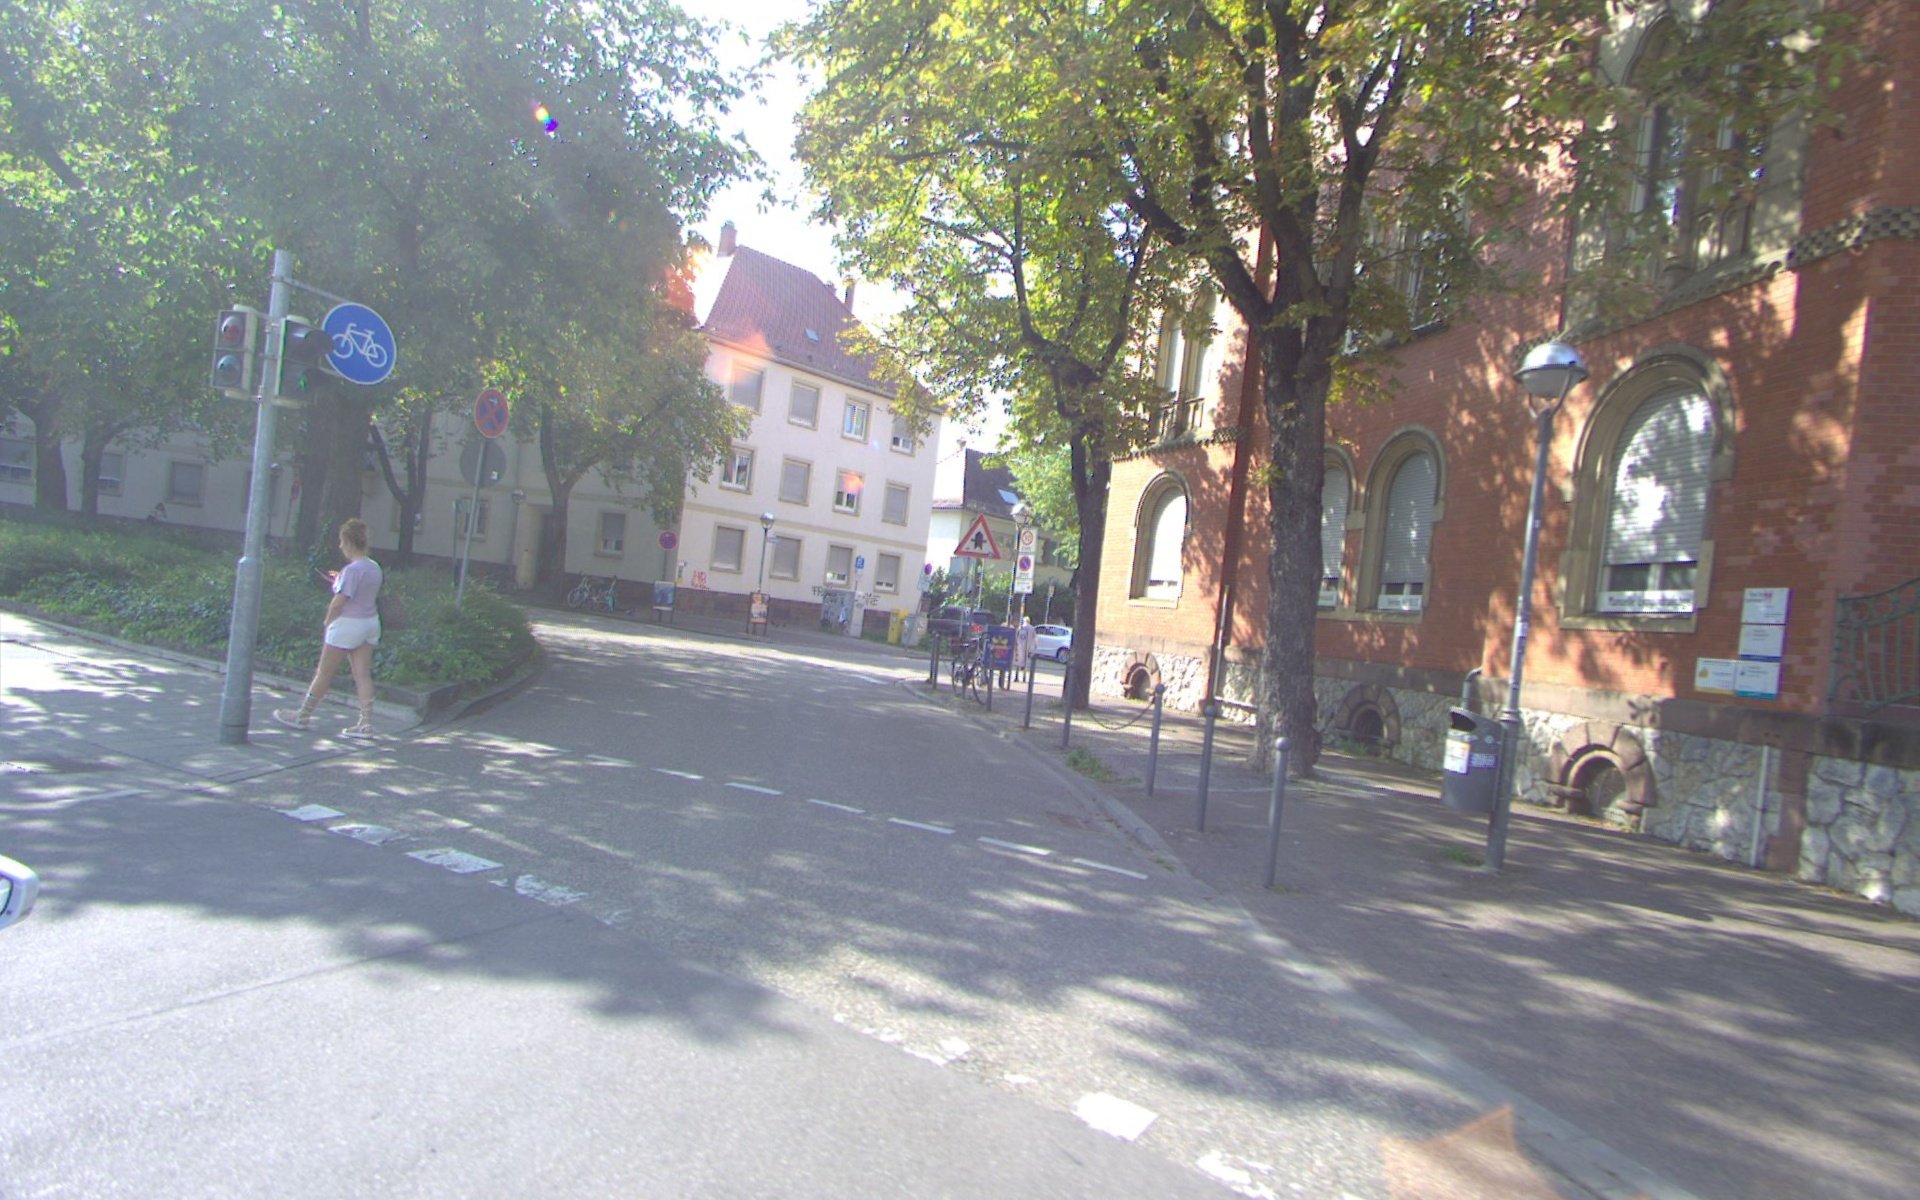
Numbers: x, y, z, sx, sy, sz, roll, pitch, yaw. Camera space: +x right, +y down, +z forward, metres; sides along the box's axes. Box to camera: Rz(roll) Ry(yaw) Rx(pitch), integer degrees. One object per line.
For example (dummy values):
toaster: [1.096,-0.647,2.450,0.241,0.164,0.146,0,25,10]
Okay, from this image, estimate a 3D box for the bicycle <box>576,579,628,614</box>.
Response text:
bicycle: [-11.753,-0.113,33.055,0.419,0.990,1.549,7,0,39]

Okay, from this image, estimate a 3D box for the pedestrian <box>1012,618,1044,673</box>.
pedestrian: [2.113,1.404,31.321,0.762,1.586,0.894,7,0,0]

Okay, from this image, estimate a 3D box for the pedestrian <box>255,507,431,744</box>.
pedestrian: [-4.972,0.204,8.139,0.757,1.752,0.752,7,0,16]

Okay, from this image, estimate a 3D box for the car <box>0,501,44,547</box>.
car: [-31.660,-2.610,31.186,4.273,1.336,1.992,7,-1,-19]

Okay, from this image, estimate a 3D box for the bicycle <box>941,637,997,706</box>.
bicycle: [0.130,1.180,17.008,0.419,0.990,1.765,6,0,-14]

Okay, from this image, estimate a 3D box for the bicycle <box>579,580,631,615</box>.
bicycle: [-11.555,-0.080,32.781,0.419,0.990,1.549,7,0,39]

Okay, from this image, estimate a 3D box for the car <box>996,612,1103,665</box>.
car: [3.578,1.537,40.643,3.941,1.632,1.591,6,0,38]

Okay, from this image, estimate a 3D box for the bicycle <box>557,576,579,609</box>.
bicycle: [-12.989,-0.244,33.325,0.421,0.990,1.545,6,0,-27]

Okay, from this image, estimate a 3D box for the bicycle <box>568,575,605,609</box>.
bicycle: [-12.696,-0.259,34.218,0.418,1.051,1.556,7,0,6]

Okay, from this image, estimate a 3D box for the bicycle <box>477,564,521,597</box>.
bicycle: [-16.695,-0.712,36.411,1.527,0.990,0.425,7,1,22]

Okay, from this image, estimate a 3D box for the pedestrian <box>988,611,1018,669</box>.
pedestrian: [1.359,1.262,32.178,0.761,1.762,0.894,7,0,2]

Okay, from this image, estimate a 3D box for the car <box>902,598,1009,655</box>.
car: [-0.211,0.947,37.146,1.586,1.632,3.953,7,0,-42]

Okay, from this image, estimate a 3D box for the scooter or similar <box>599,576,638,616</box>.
scooter or similar: [-11.067,-0.117,32.586,1.061,1.213,0.455,3,3,-33]

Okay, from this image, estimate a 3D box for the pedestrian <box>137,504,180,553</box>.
pedestrian: [-31.557,-2.803,39.622,0.878,1.762,0.775,7,0,-4]
